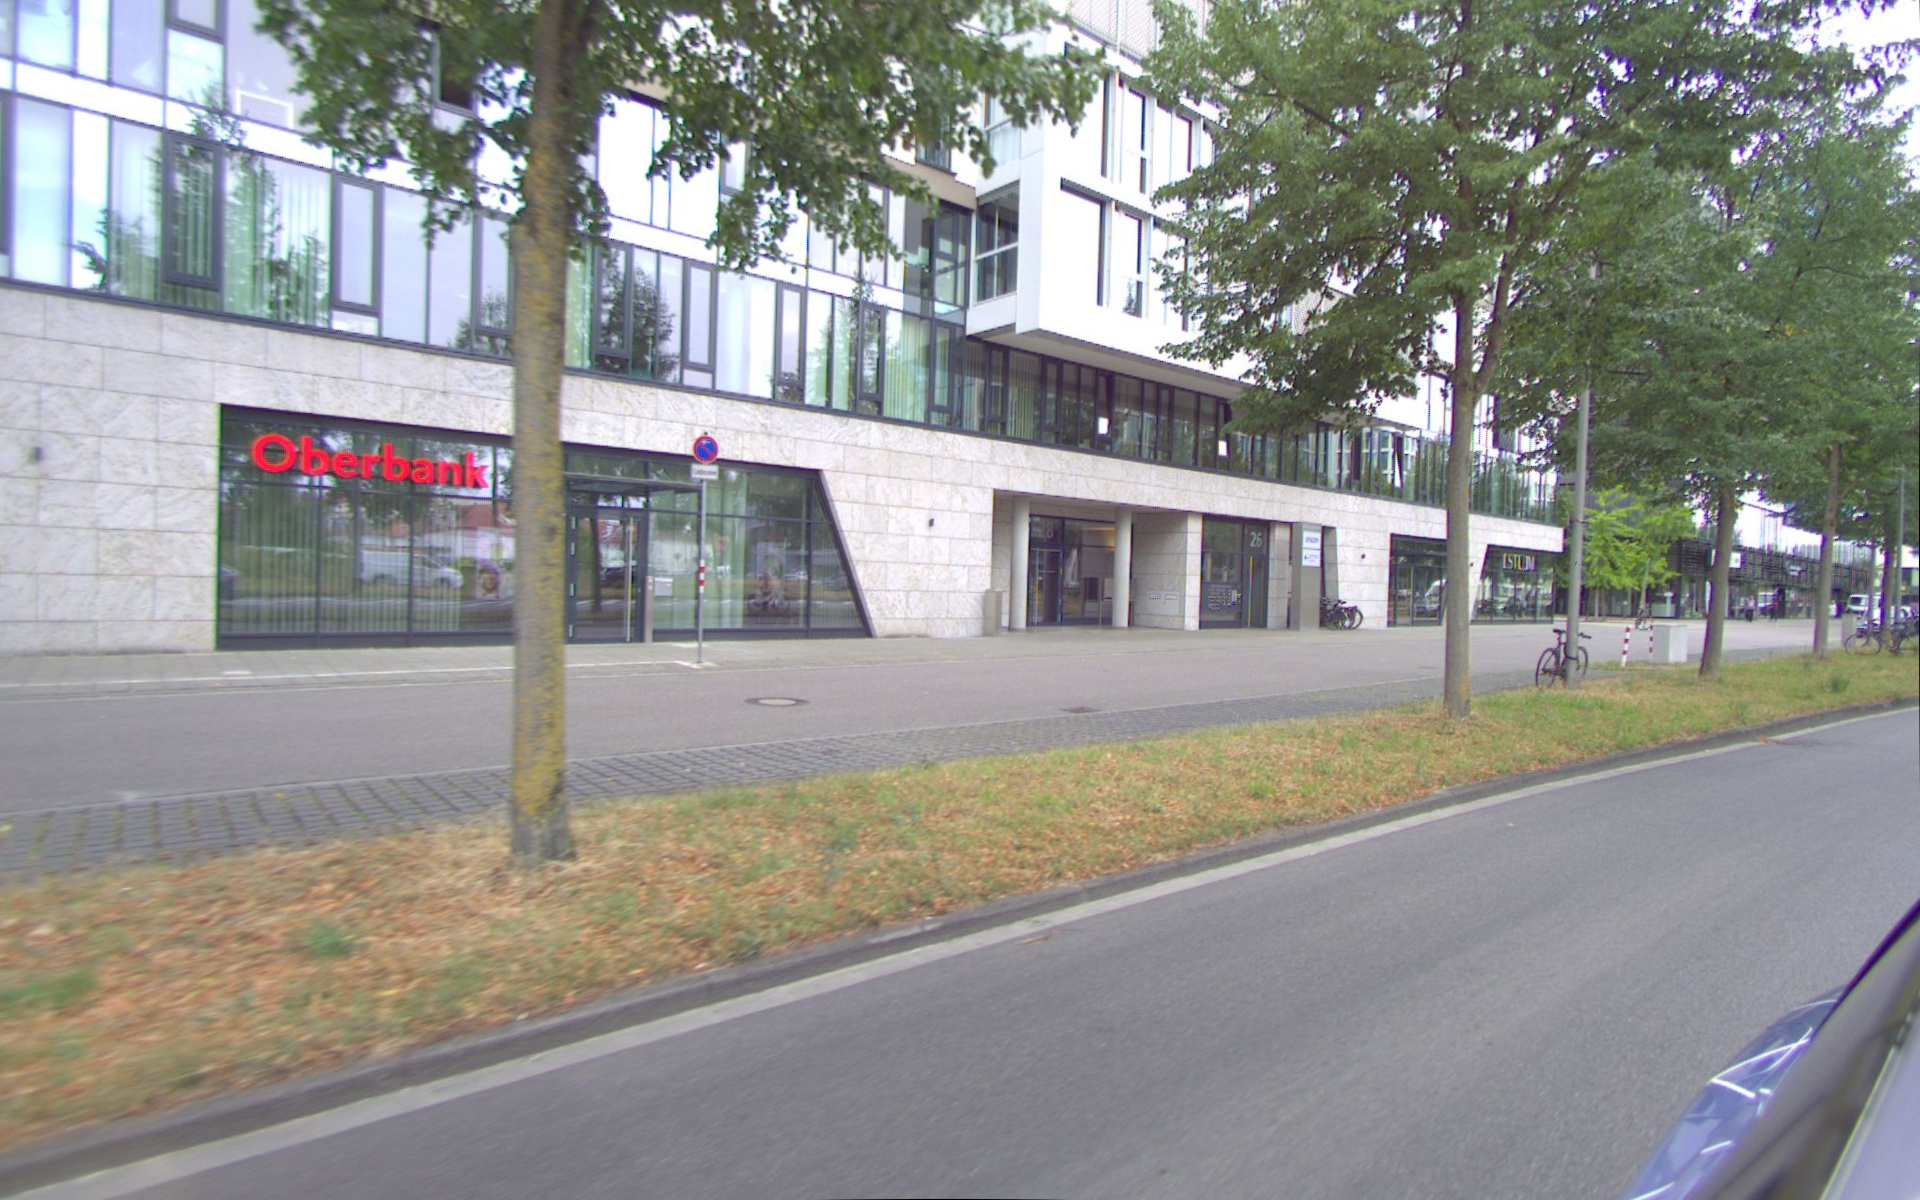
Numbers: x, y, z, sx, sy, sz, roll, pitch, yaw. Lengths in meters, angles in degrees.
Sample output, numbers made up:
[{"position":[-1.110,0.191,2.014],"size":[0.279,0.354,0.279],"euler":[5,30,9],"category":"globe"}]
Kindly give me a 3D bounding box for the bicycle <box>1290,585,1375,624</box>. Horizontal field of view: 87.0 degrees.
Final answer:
[{"position":[12.510,0.136,34.042],"size":[2.418,1.191,1.184],"euler":[2,2,43],"category":"bicycle"}]

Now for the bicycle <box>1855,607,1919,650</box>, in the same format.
[{"position":[23.942,0.733,25.680],"size":[1.778,1.032,0.417],"euler":[2,1,36],"category":"bicycle"}]

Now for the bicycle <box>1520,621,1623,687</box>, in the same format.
[{"position":[9.198,0.785,15.194],"size":[2.077,0.887,0.634],"euler":[-1,0,-39],"category":"bicycle"}]

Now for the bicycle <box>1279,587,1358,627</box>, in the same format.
[{"position":[11.722,0.210,33.103],"size":[2.231,1.191,0.961],"euler":[2,2,43],"category":"bicycle"}]

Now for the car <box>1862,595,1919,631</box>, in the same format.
[{"position":[42.915,0.568,46.324],"size":[3.930,1.549,1.953],"euler":[0,2,-41],"category":"car"}]
